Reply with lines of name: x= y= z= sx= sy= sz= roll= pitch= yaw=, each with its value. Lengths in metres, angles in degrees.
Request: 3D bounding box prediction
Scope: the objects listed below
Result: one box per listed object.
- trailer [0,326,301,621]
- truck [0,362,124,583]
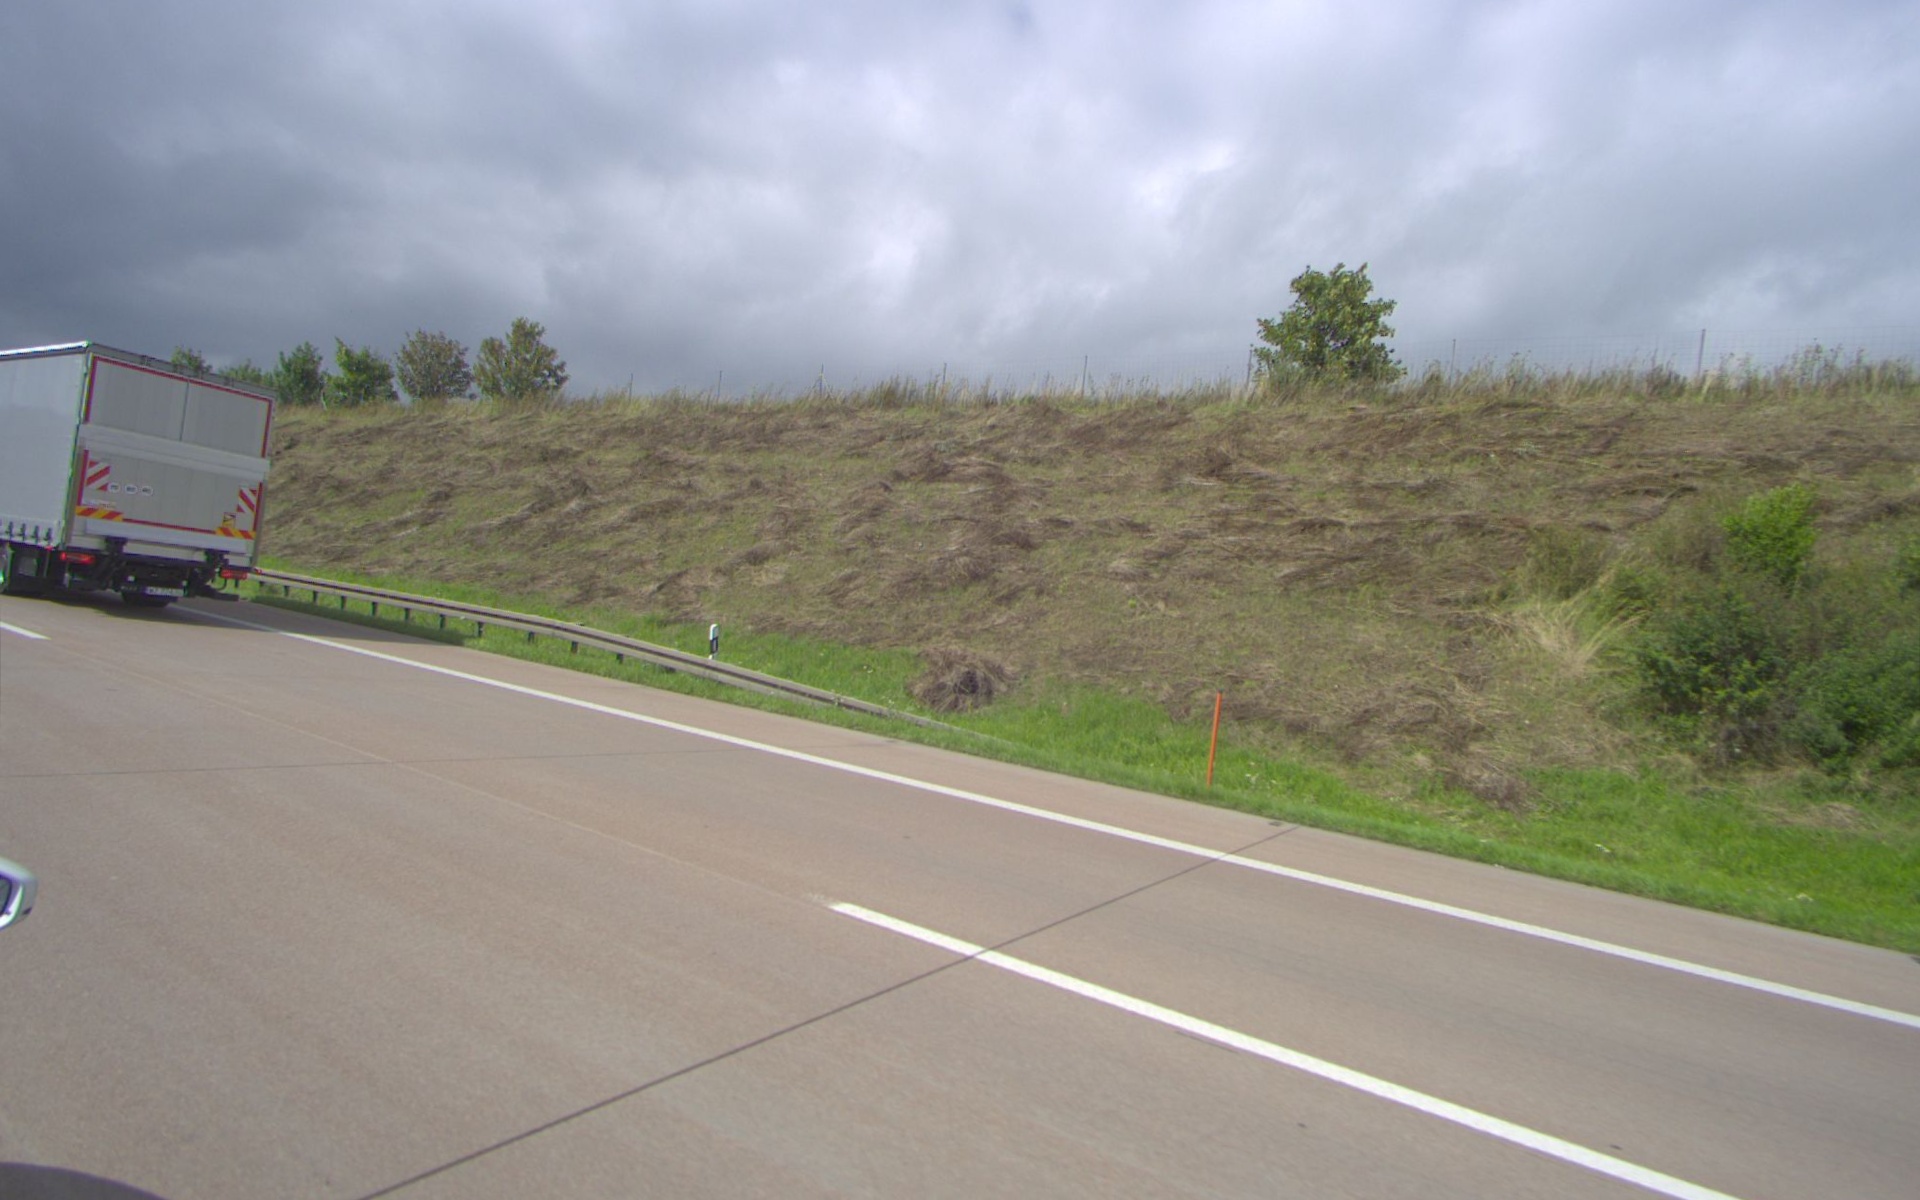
trailer: x=-15.608 y=-2.193 z=17.821 sx=8.525 sy=4.059 sz=2.753 roll=6 pitch=-1 yaw=31
truck: x=-19.795 y=-2.651 z=20.332 sx=4.469 sy=3.937 sz=2.754 roll=7 pitch=-1 yaw=30
